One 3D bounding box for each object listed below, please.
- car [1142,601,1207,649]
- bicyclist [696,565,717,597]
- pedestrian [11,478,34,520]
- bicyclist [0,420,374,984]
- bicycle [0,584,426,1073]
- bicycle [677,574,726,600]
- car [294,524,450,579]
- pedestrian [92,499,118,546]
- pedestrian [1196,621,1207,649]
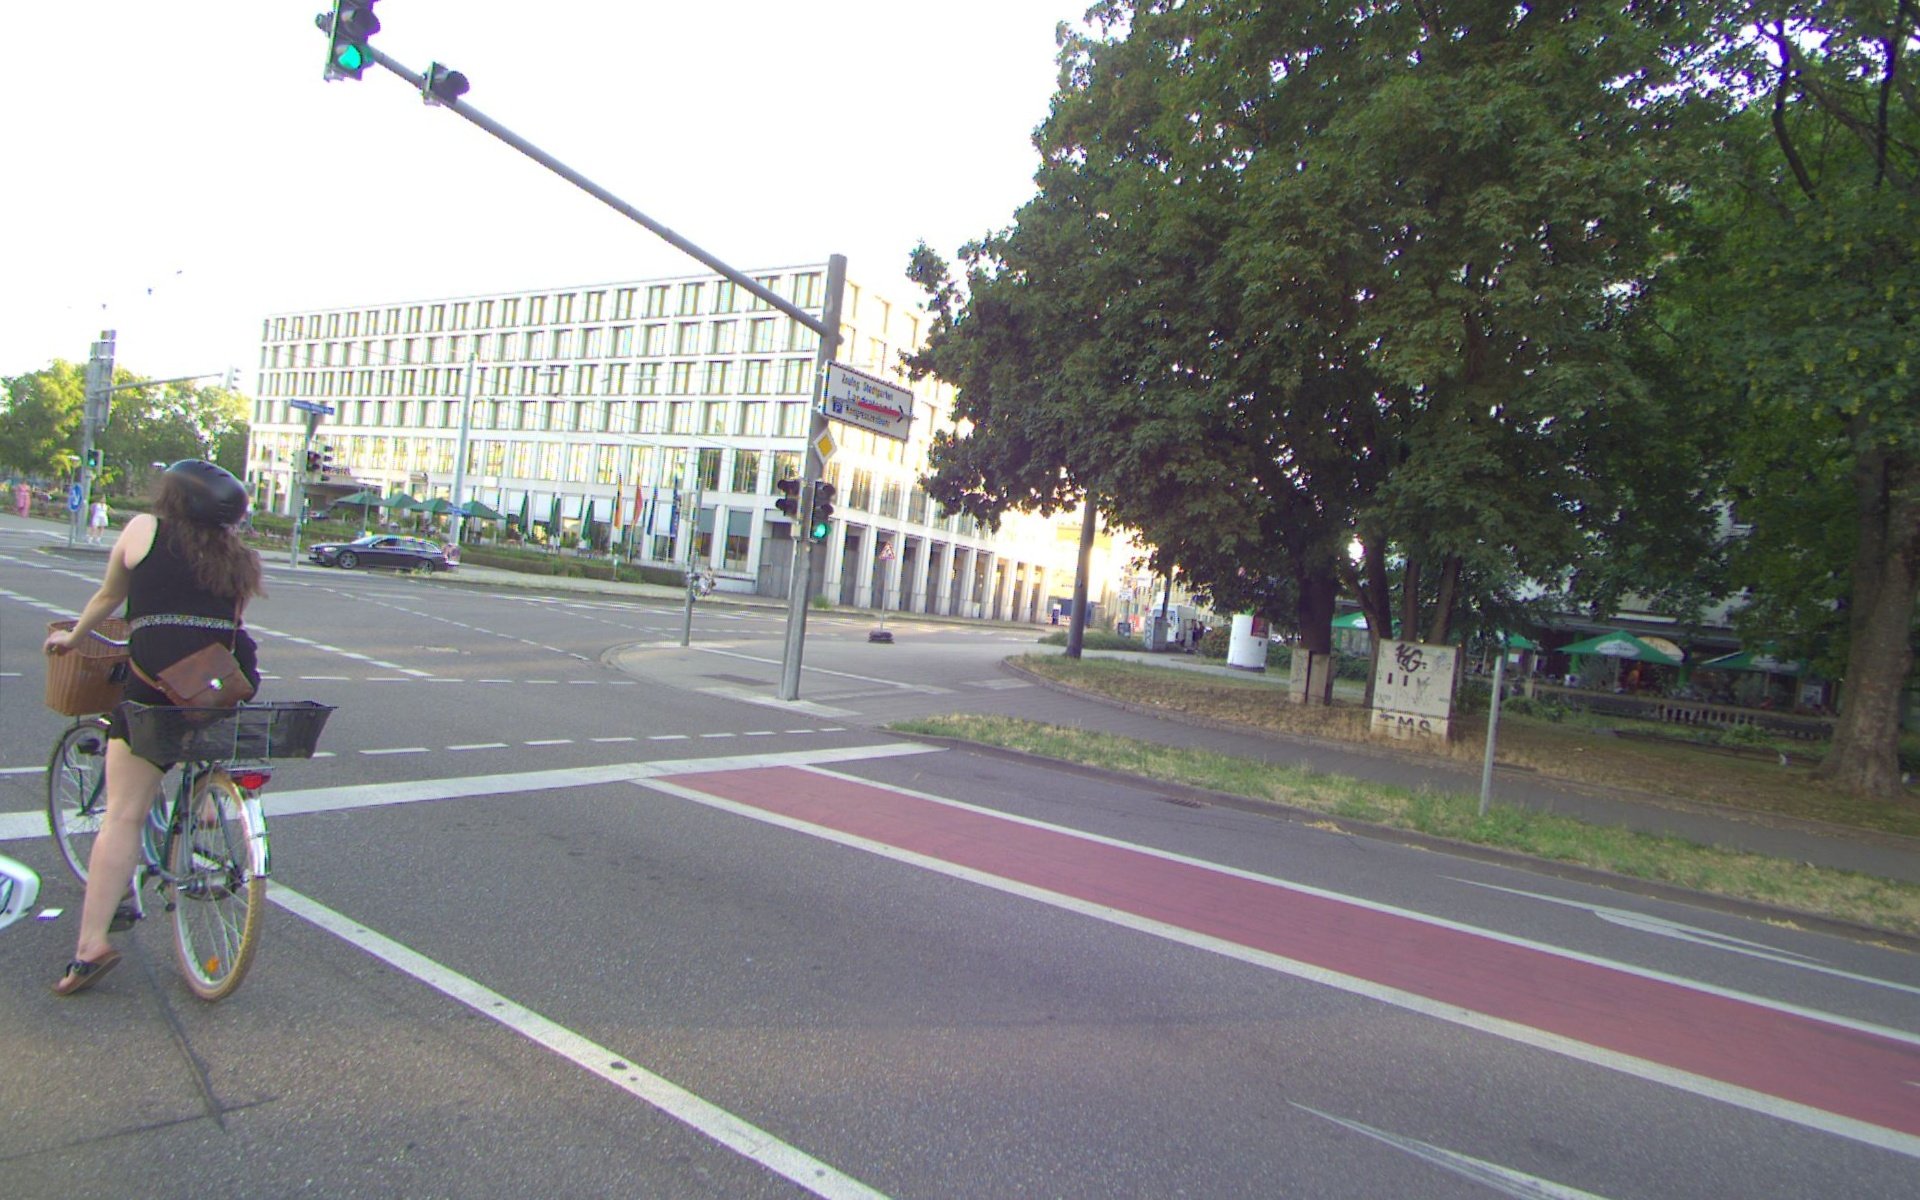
[{"bbox_3d":[11.891,1.423,55.571,1.967,2.318,4.605,6,0,31],"label":"car"},{"bbox_3d":[-13.198,-0.993,52.315,0.567,1.556,0.708,7,1,29],"label":"bicyclist"},{"bbox_3d":[-39.560,-4.245,42.457,0.557,1.678,0.460,7,2,32],"label":"pedestrian"},{"bbox_3d":[-2.680,0.278,3.451,0.982,1.655,0.600,7,0,32],"label":"bicyclist"},{"bbox_3d":[-2.764,0.626,3.471,1.971,1.146,0.612,7,-1,32],"label":"bicycle"},{"bbox_3d":[-13.355,-0.662,52.064,0.592,1.120,2.775,7,0,29],"label":"bicycle"},{"bbox_3d":[-22.965,-1.866,39.495,1.968,1.534,4.826,7,0,34],"label":"car"},{"bbox_3d":[-29.827,-2.707,35.082,0.402,1.559,0.491,7,2,31],"label":"pedestrian"},{"bbox_3d":[13.383,1.955,55.774,0.302,1.525,0.336,7,-1,31],"label":"pedestrian"}]
